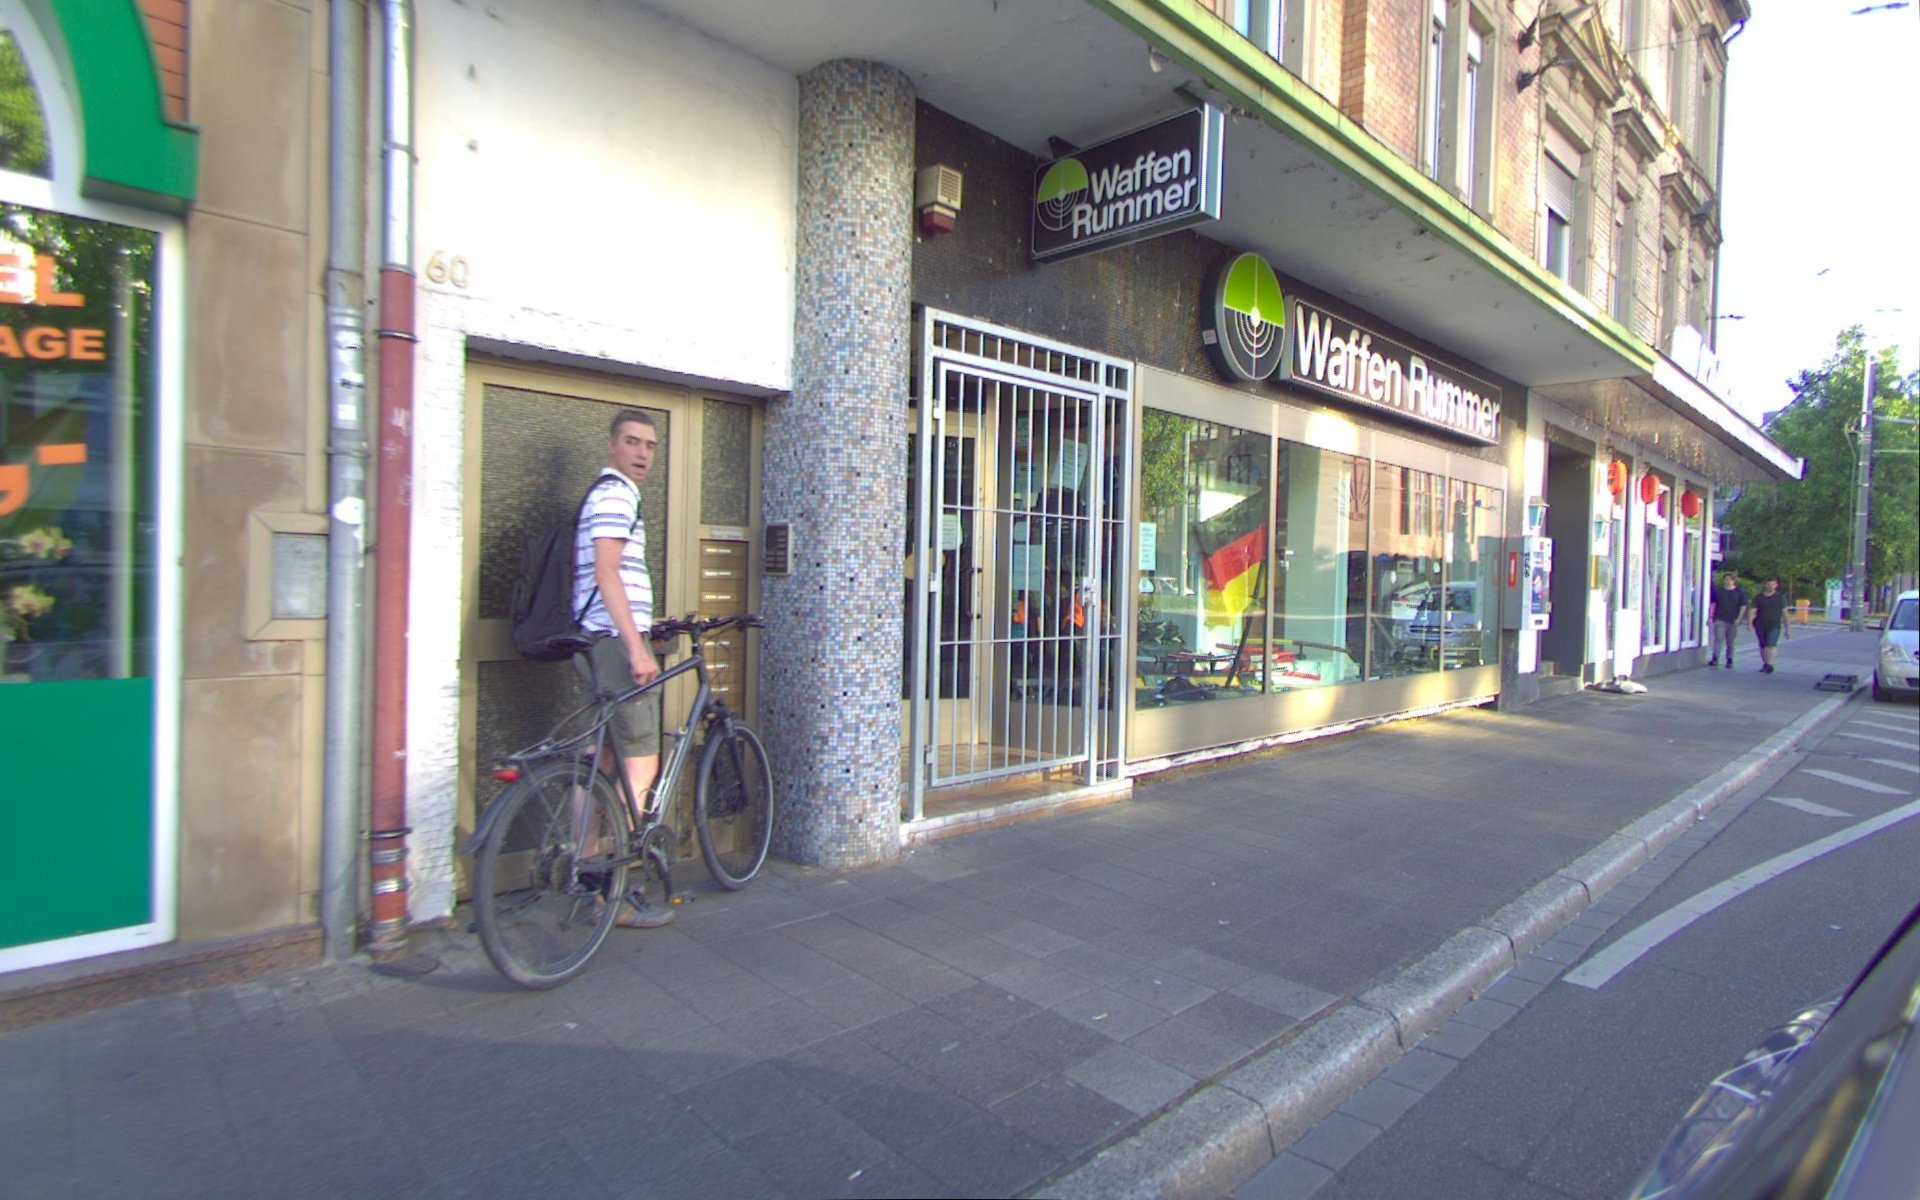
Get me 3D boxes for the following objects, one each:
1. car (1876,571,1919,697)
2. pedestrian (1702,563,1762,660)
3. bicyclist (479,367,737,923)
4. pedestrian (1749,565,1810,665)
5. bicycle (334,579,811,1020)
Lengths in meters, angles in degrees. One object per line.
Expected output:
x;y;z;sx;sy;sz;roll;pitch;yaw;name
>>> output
14.825;0.472;14.772;3.930;1.705;1.670;0;1;-41;car
14.453;0.207;18.960;0.669;1.744;0.700;0;3;-42;pedestrian
-1.335;0.142;3.922;0.592;1.905;0.739;2;1;20;bicyclist
14.823;0.262;18.312;0.494;1.744;0.700;0;3;-42;pedestrian
-1.331;0.561;3.944;0.660;1.269;1.883;2;1;20;bicycle
